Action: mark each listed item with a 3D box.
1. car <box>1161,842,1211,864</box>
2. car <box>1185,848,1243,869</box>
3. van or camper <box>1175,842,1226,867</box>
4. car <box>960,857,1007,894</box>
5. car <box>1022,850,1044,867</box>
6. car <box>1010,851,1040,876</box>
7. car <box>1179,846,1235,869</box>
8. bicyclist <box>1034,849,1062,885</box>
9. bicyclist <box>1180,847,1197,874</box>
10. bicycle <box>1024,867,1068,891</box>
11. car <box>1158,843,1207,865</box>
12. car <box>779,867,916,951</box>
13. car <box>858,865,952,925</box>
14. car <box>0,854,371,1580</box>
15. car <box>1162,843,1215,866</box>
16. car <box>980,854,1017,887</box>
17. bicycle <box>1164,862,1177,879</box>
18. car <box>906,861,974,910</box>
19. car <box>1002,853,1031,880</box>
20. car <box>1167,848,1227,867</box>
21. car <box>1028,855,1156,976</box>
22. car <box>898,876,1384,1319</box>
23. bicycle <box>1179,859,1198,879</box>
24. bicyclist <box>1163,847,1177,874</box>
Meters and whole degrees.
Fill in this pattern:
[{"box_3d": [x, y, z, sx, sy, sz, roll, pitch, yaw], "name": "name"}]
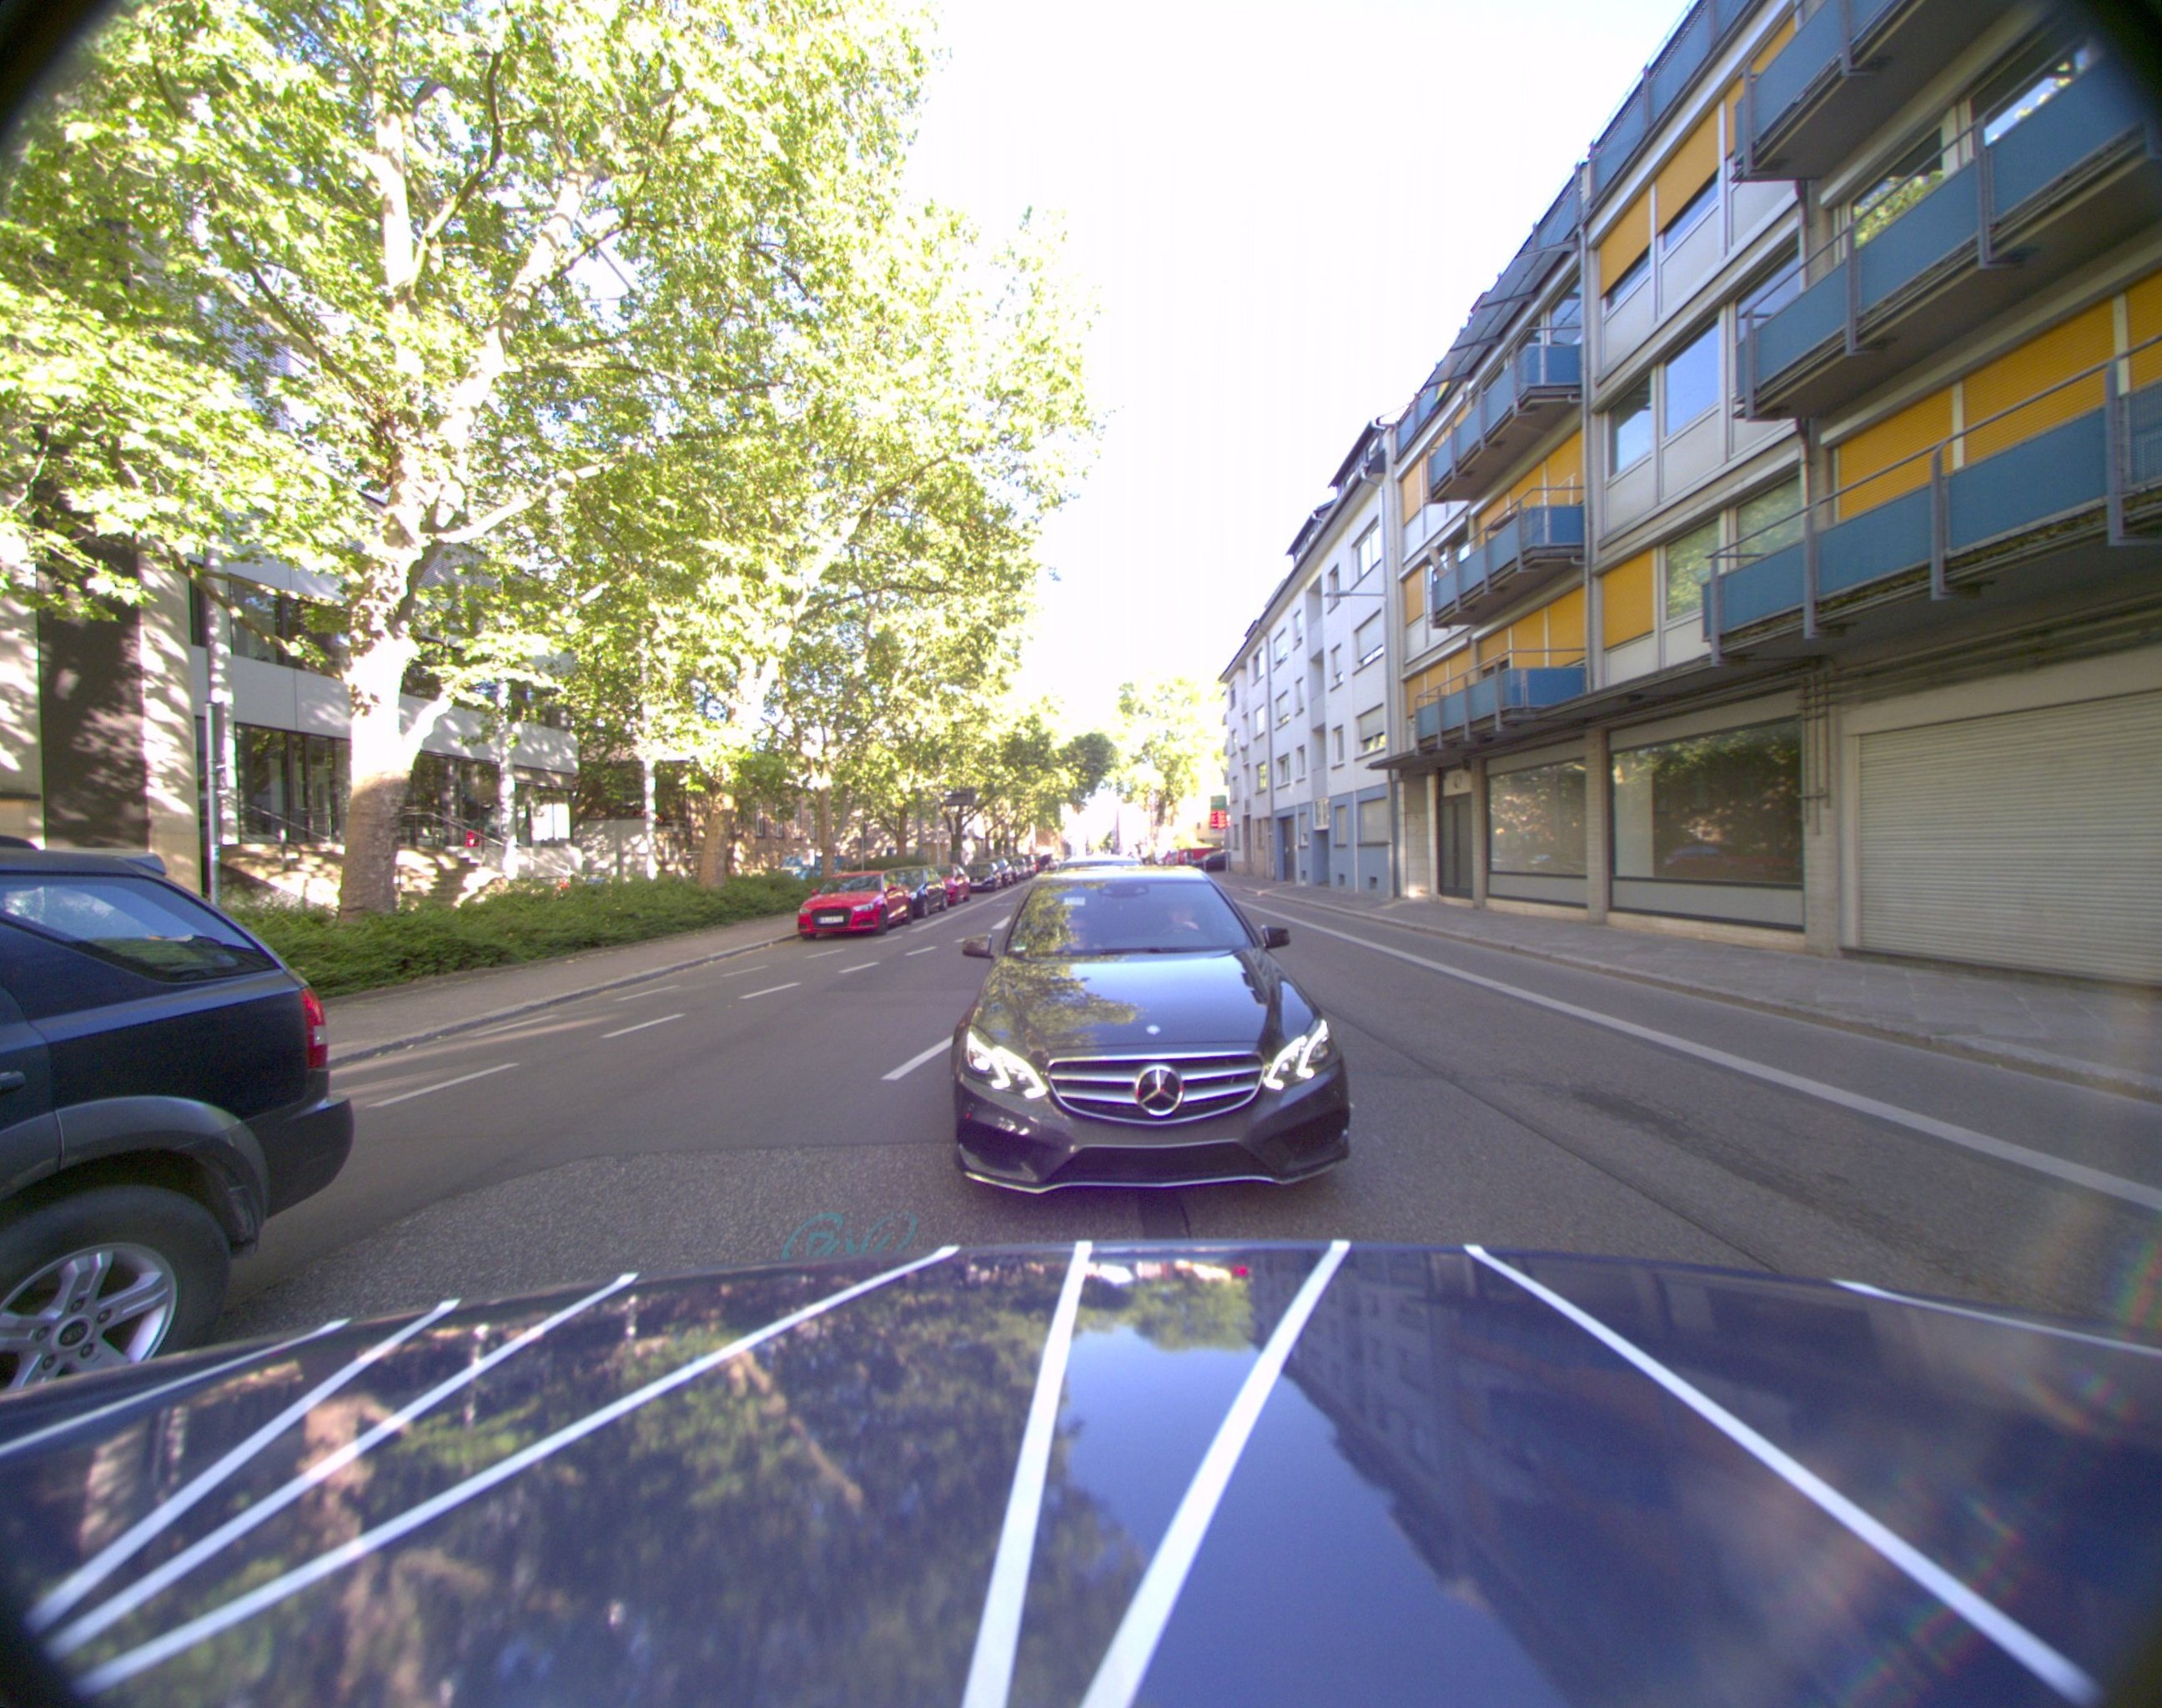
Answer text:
[{"box_3d": [11.027, -0.105, 80.211, 4.991, 2.181, 2.000, -2, 1, 1], "name": "car"}, {"box_3d": [10.309, 0.322, 58.981, 4.146, 1.486, 2.000, -2, 0, 1], "name": "car"}, {"box_3d": [10.054, 0.021, 64.219, 3.997, 2.002, 2.000, -2, 1, 0], "name": "van or camper"}, {"box_3d": [-4.739, 1.004, 37.378, 1.741, 1.622, 4.091, -2, 0, 0], "name": "car"}, {"box_3d": [-4.389, 0.430, 70.464, 1.741, 1.469, 4.091, -2, 0, 0], "name": "car"}, {"box_3d": [-4.395, 0.718, 59.866, 1.992, 1.795, 4.376, -2, 0, 0], "name": "car"}, {"box_3d": [10.132, 0.267, 61.312, 4.146, 1.681, 2.000, -2, 0, 1], "name": "car"}, {"box_3d": [-1.485, 0.584, 34.394, 1.039, 1.610, 0.696, -2, 1, -24], "name": "bicyclist"}, {"box_3d": [6.245, 0.360, 44.273, 0.844, 1.546, 0.839, -2, 1, 2], "name": "bicyclist"}, {"box_3d": [-1.584, 1.130, 34.414, 1.801, 1.009, 0.733, -2, 1, -23], "name": "bicycle"}, {"box_3d": [11.030, -0.012, 82.842, 4.991, 2.181, 2.000, -2, 1, 1], "name": "car"}, {"box_3d": [-5.242, 1.174, 17.682, 1.830, 1.519, 4.142, -4, 0, 0], "name": "car"}, {"box_3d": [-5.082, 1.137, 22.468, 1.741, 1.444, 4.091, -4, 0, 0], "name": "car"}, {"box_3d": [-3.607, 0.944, 0.601, 1.785, 1.760, 4.384, -3, 0, 2], "name": "car"}, {"box_3d": [10.907, 0.022, 77.359, 4.991, 2.181, 2.000, -2, 1, 1], "name": "car"}, {"box_3d": [-4.544, 0.886, 42.332, 1.634, 1.677, 3.907, -2, 0, 0], "name": "car"}, {"box_3d": [5.221, 0.963, 44.442, 0.695, 0.924, 1.864, -2, 0, 4], "name": "bicycle"}, {"box_3d": [-5.064, 1.090, 27.720, 1.681, 1.484, 3.918, -4, 0, 0], "name": "car"}, {"box_3d": [-4.617, 0.862, 54.734, 1.741, 1.785, 3.895, -2, 0, 0], "name": "car"}, {"box_3d": [10.155, 0.282, 66.721, 4.990, 1.486, 2.000, -2, 0, 1], "name": "car"}, {"box_3d": [0.178, 0.834, 12.626, 1.646, 1.520, 4.619, -4, 0, 1], "name": "car"}, {"box_3d": [0.219, 0.951, 4.723, 1.740, 1.448, 3.864, -2, 0, 0], "name": "car"}, {"box_3d": [6.270, 0.875, 44.313, 0.865, 1.072, 1.836, -2, 0, 2], "name": "bicycle"}, {"box_3d": [5.217, 0.362, 44.541, 0.686, 1.569, 0.982, -2, 1, 4], "name": "bicyclist"}]
